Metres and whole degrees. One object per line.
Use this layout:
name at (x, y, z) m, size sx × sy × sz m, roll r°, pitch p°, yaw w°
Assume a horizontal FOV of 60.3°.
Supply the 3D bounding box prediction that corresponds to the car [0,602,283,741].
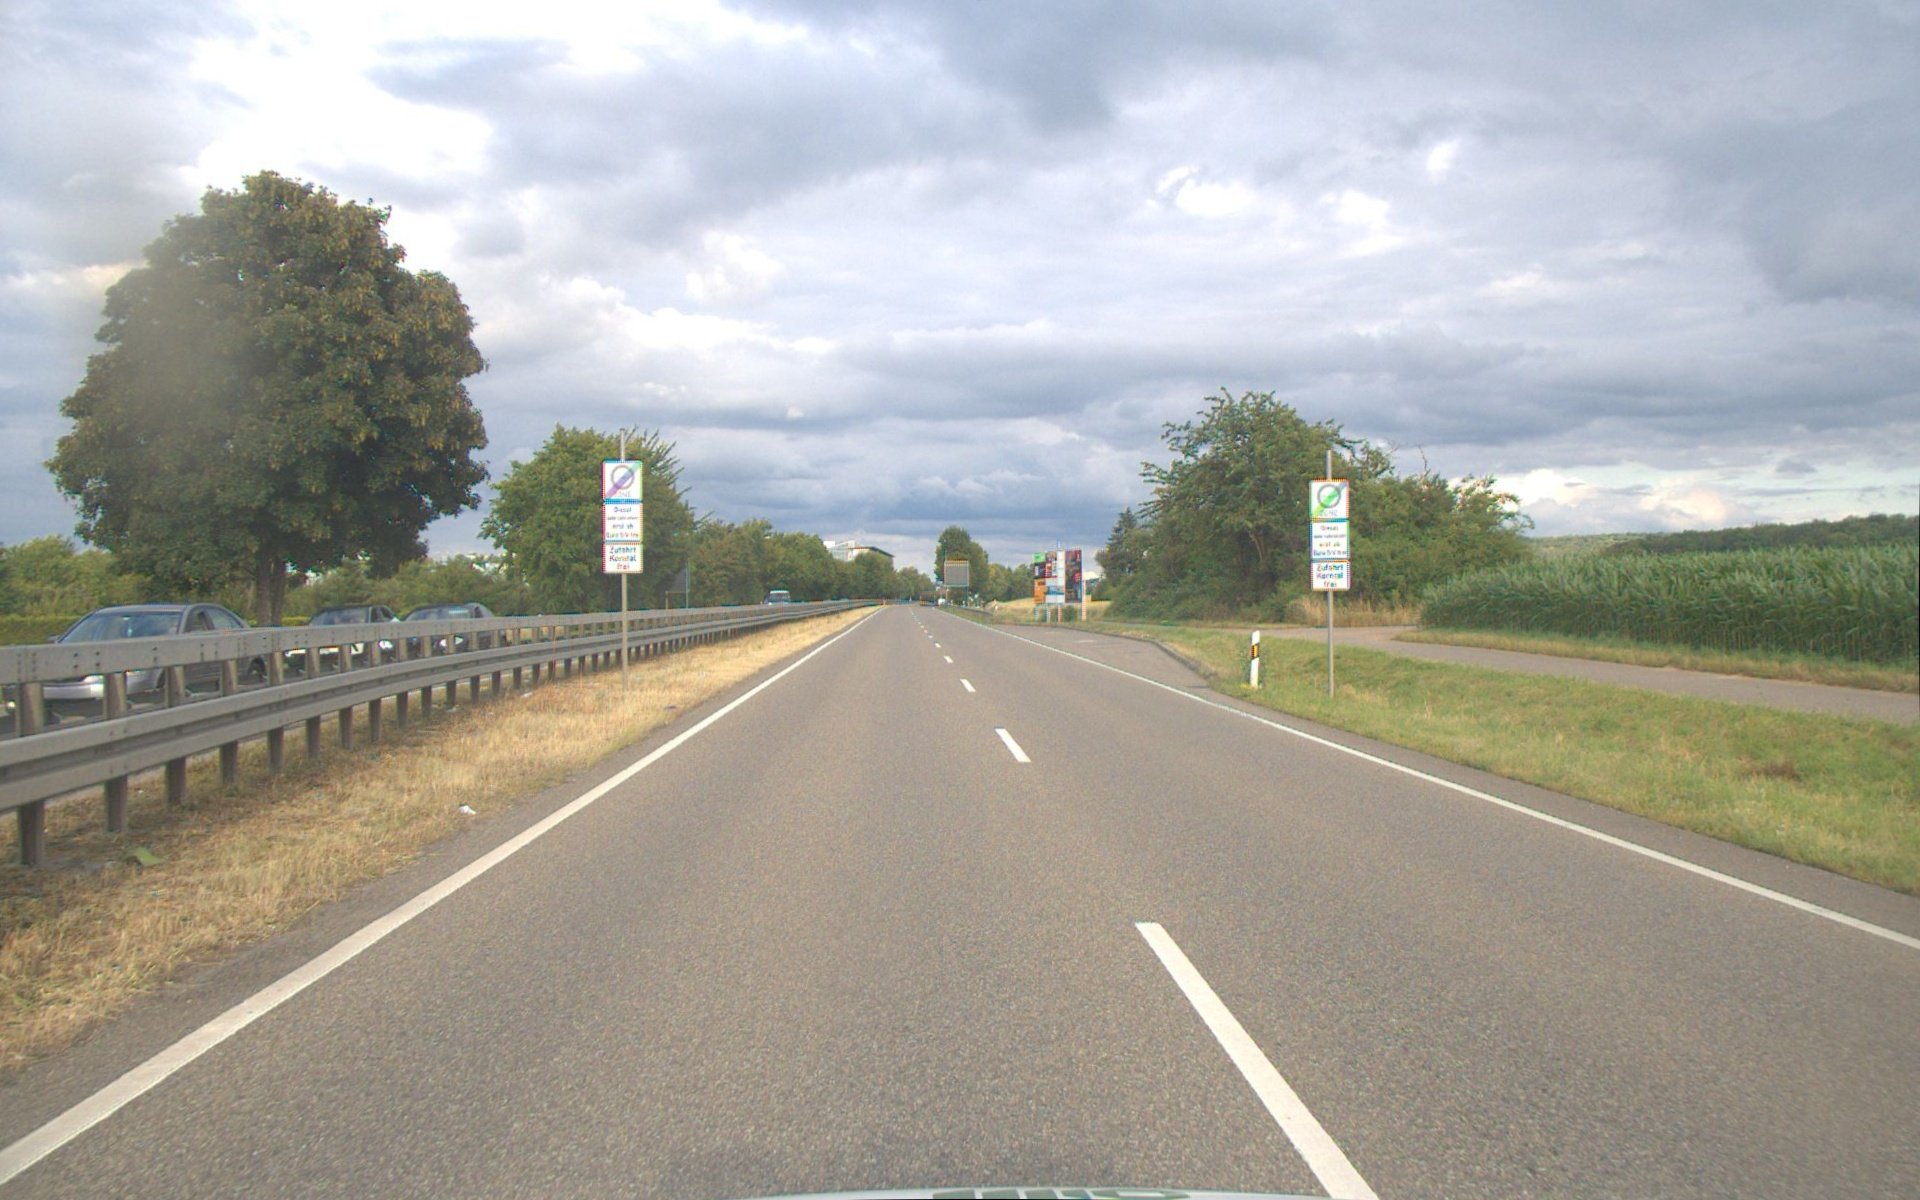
car at (-10.377, 0.805, 20.856) m, size 1.829 × 1.503 × 4.823 m, roll -1°, pitch 0°, yaw -2°

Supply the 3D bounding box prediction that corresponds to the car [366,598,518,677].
car at (-10.891, 0.743, 35.171) m, size 1.829 × 1.503 × 4.933 m, roll -1°, pitch 0°, yaw -2°

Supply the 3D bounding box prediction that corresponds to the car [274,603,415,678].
car at (-14.223, 0.889, 38.452) m, size 1.829 × 1.591 × 4.150 m, roll -1°, pitch 0°, yaw -2°
